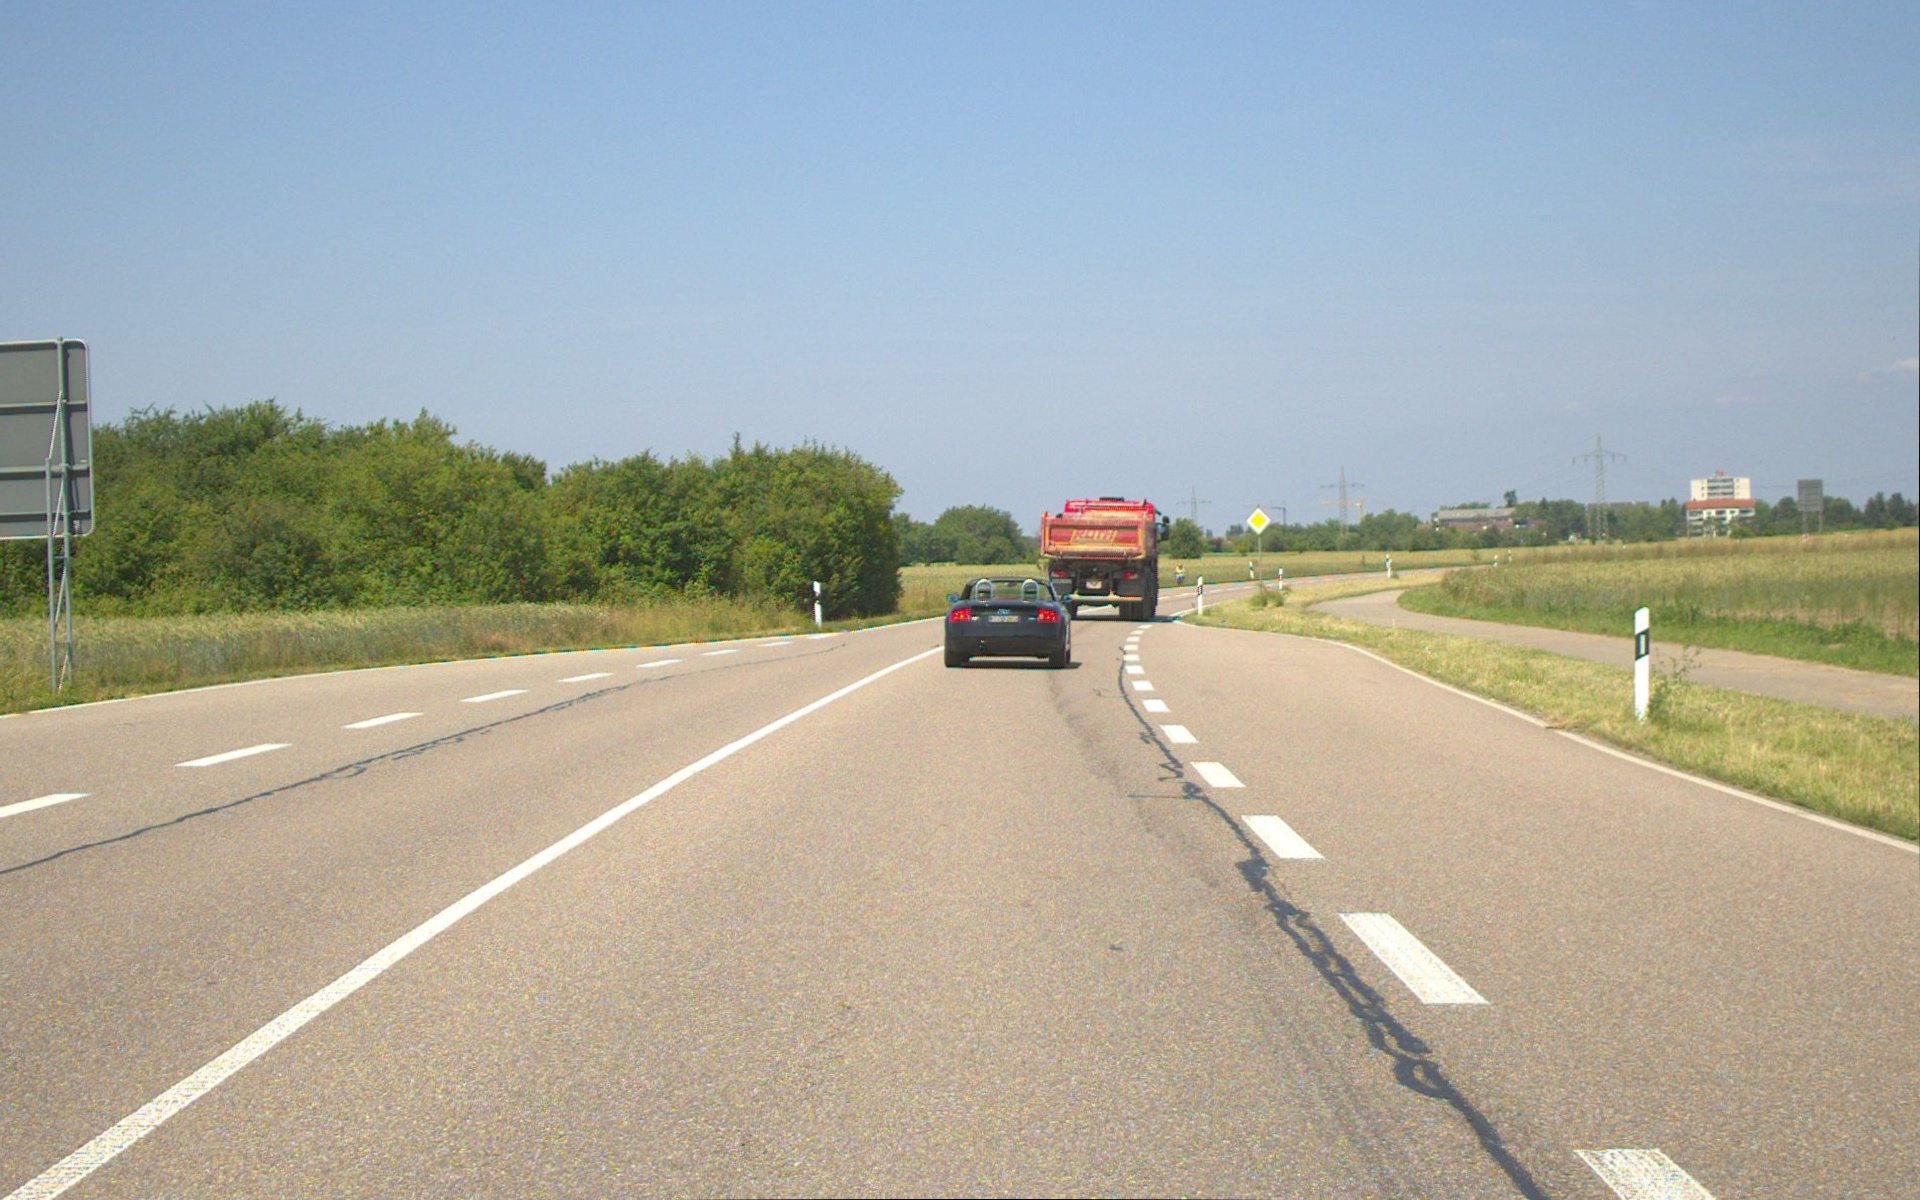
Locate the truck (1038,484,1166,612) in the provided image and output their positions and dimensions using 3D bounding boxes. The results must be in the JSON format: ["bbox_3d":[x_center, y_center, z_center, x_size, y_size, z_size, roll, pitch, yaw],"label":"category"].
[{"bbox_3d":[3.517,-1.280,86.505,2.938,3.078,7.196,0,0,0],"label":"truck"}]

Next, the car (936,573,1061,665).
[{"bbox_3d":[0.587,0.250,50.103,1.744,1.275,4.000,0,1,1],"label":"car"}]
